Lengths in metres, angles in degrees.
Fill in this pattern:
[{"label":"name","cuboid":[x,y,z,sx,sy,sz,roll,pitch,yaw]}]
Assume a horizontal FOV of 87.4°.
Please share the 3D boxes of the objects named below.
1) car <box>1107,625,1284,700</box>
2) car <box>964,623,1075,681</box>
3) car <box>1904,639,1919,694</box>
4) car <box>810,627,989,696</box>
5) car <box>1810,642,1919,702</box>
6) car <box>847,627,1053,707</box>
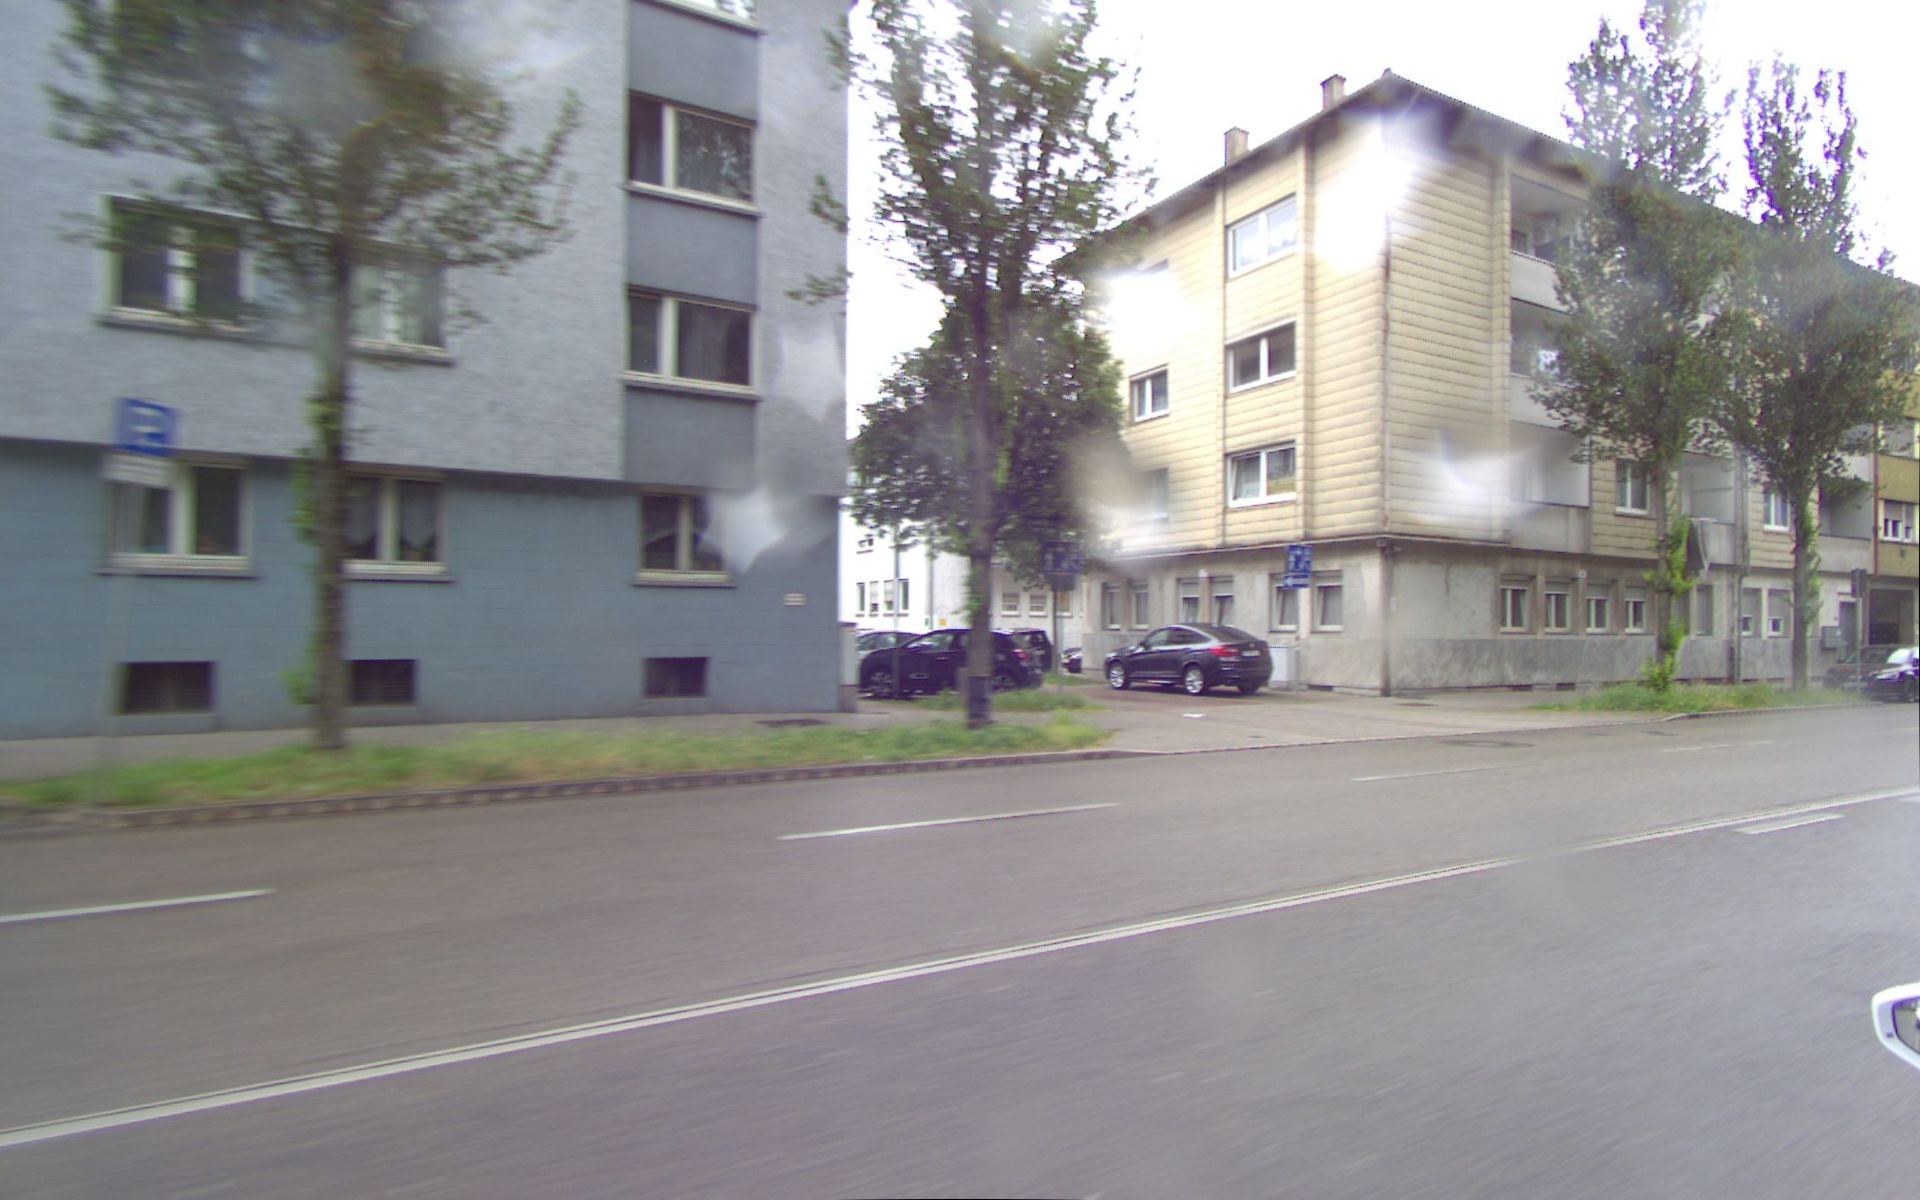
[{"label":"car","cuboid":[5.521,1.414,24.039,1.902,1.600,4.133,0,-1,-28]},{"label":"car","cuboid":[1.782,1.571,31.347,1.688,1.653,3.973,0,-1,-27]},{"label":"car","cuboid":[28.888,1.836,28.435,4.732,1.508,1.810,1,-3,-29]},{"label":"car","cuboid":[-1.379,1.421,23.779,3.919,1.514,1.796,0,-2,10]},{"label":"car","cuboid":[23.711,1.792,25.722,3.938,1.405,1.619,1,-2,-28]},{"label":"car","cuboid":[-0.168,1.350,20.722,3.919,1.513,1.715,0,-3,15]}]
